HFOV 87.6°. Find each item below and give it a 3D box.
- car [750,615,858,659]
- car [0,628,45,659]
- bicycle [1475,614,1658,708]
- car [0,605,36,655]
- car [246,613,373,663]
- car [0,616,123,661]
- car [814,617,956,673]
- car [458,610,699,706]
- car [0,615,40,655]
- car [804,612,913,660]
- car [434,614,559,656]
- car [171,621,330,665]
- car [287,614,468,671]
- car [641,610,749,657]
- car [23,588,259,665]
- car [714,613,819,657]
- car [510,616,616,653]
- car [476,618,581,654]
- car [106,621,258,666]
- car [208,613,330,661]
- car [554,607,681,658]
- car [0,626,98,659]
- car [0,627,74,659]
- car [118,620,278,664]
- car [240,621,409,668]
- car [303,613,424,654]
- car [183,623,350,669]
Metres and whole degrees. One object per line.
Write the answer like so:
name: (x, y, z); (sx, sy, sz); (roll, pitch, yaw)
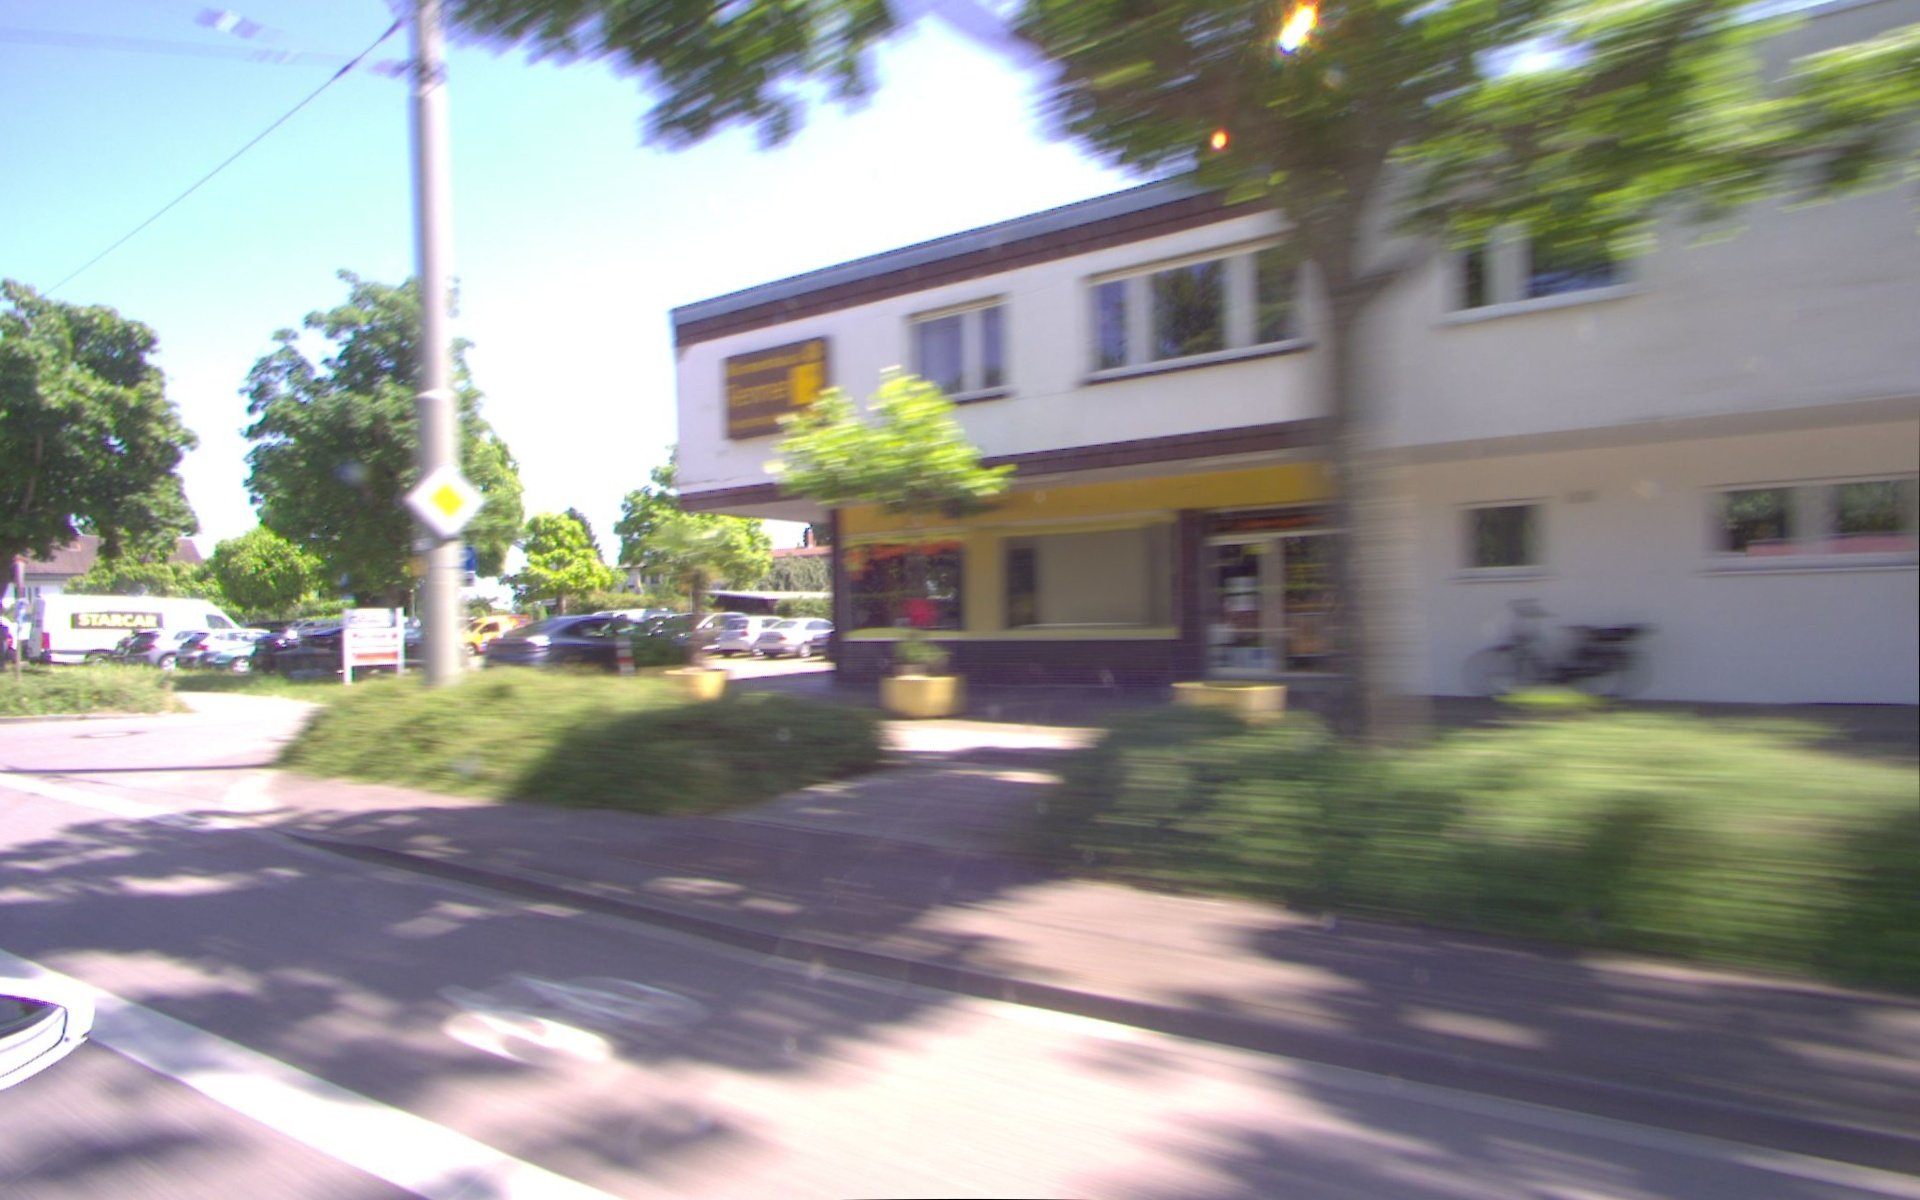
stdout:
car: (-5.581, 1.303, 36.328); (1.610, 1.387, 3.969); (-1, 1, 33)
car: (-45.363, 2.010, 46.507); (1.701, 1.423, 3.886); (-1, -3, 28)
bicycle: (7.361, 0.727, 12.251); (1.872, 1.082, 0.542); (-1, 0, 29)
car: (-50.066, 1.480, 49.964); (2.066, 2.490, 5.481); (-1, -3, 33)
car: (-35.842, 2.028, 55.325); (2.065, 2.492, 5.476); (-1, 1, 33)
car: (-38.412, 1.654, 42.651); (1.924, 1.806, 3.778); (-1, -3, 28)
car: (-1.960, 1.169, 27.342); (1.724, 1.392, 4.130); (-1, -1, 33)
car: (-7.239, 1.034, 19.422); (1.915, 1.631, 4.134); (-1, -1, 29)
car: (-47.623, 1.687, 48.300); (1.924, 1.932, 4.405); (-1, -3, 28)
car: (-3.431, 1.209, 34.483); (1.610, 1.456, 3.969); (-1, 1, 33)
car: (-22.260, 1.635, 48.310); (2.066, 1.776, 5.140); (-1, 1, 33)
car: (-23.072, 1.418, 32.702); (1.703, 1.341, 3.882); (-1, -3, 31)
car: (-16.534, 1.244, 28.630); (1.654, 1.508, 4.194); (-1, -3, 31)
car: (-10.221, 1.274, 38.909); (1.645, 1.622, 3.969); (-1, 1, 33)
car: (-29.895, 1.055, 36.839); (2.233, 2.560, 6.326); (-1, -3, 35)
car: (-7.322, 1.305, 38.150); (1.610, 1.463, 3.969); (-1, 1, 33)
car: (-17.903, 1.540, 45.287); (1.610, 1.456, 4.299); (-1, 1, 33)
car: (-20.085, 1.632, 46.789); (1.610, 1.456, 4.299); (-1, 1, 33)
car: (-27.422, 1.555, 35.399); (1.702, 1.490, 3.883); (-1, -3, 30)
car: (-40.543, 2.120, 58.897); (2.065, 2.492, 5.476); (-1, 1, 33)
car: (-14.221, 1.309, 41.904); (1.881, 1.926, 4.906); (-1, 1, 32)
car: (-40.903, 1.878, 44.008); (1.702, 1.423, 4.273); (-1, -3, 30)
car: (-43.203, 1.956, 45.642); (1.702, 1.423, 3.883); (-1, -3, 30)
car: (-25.413, 1.428, 33.535); (1.700, 1.397, 3.887); (-1, -3, 27)
car: (-18.790, 1.348, 29.757); (1.703, 1.297, 3.882); (-1, -3, 31)
car: (-31.417, 1.733, 52.928); (2.066, 1.901, 5.083); (-1, 1, 33)
car: (-21.337, 1.433, 30.957); (1.703, 1.341, 3.882); (-1, -3, 31)
